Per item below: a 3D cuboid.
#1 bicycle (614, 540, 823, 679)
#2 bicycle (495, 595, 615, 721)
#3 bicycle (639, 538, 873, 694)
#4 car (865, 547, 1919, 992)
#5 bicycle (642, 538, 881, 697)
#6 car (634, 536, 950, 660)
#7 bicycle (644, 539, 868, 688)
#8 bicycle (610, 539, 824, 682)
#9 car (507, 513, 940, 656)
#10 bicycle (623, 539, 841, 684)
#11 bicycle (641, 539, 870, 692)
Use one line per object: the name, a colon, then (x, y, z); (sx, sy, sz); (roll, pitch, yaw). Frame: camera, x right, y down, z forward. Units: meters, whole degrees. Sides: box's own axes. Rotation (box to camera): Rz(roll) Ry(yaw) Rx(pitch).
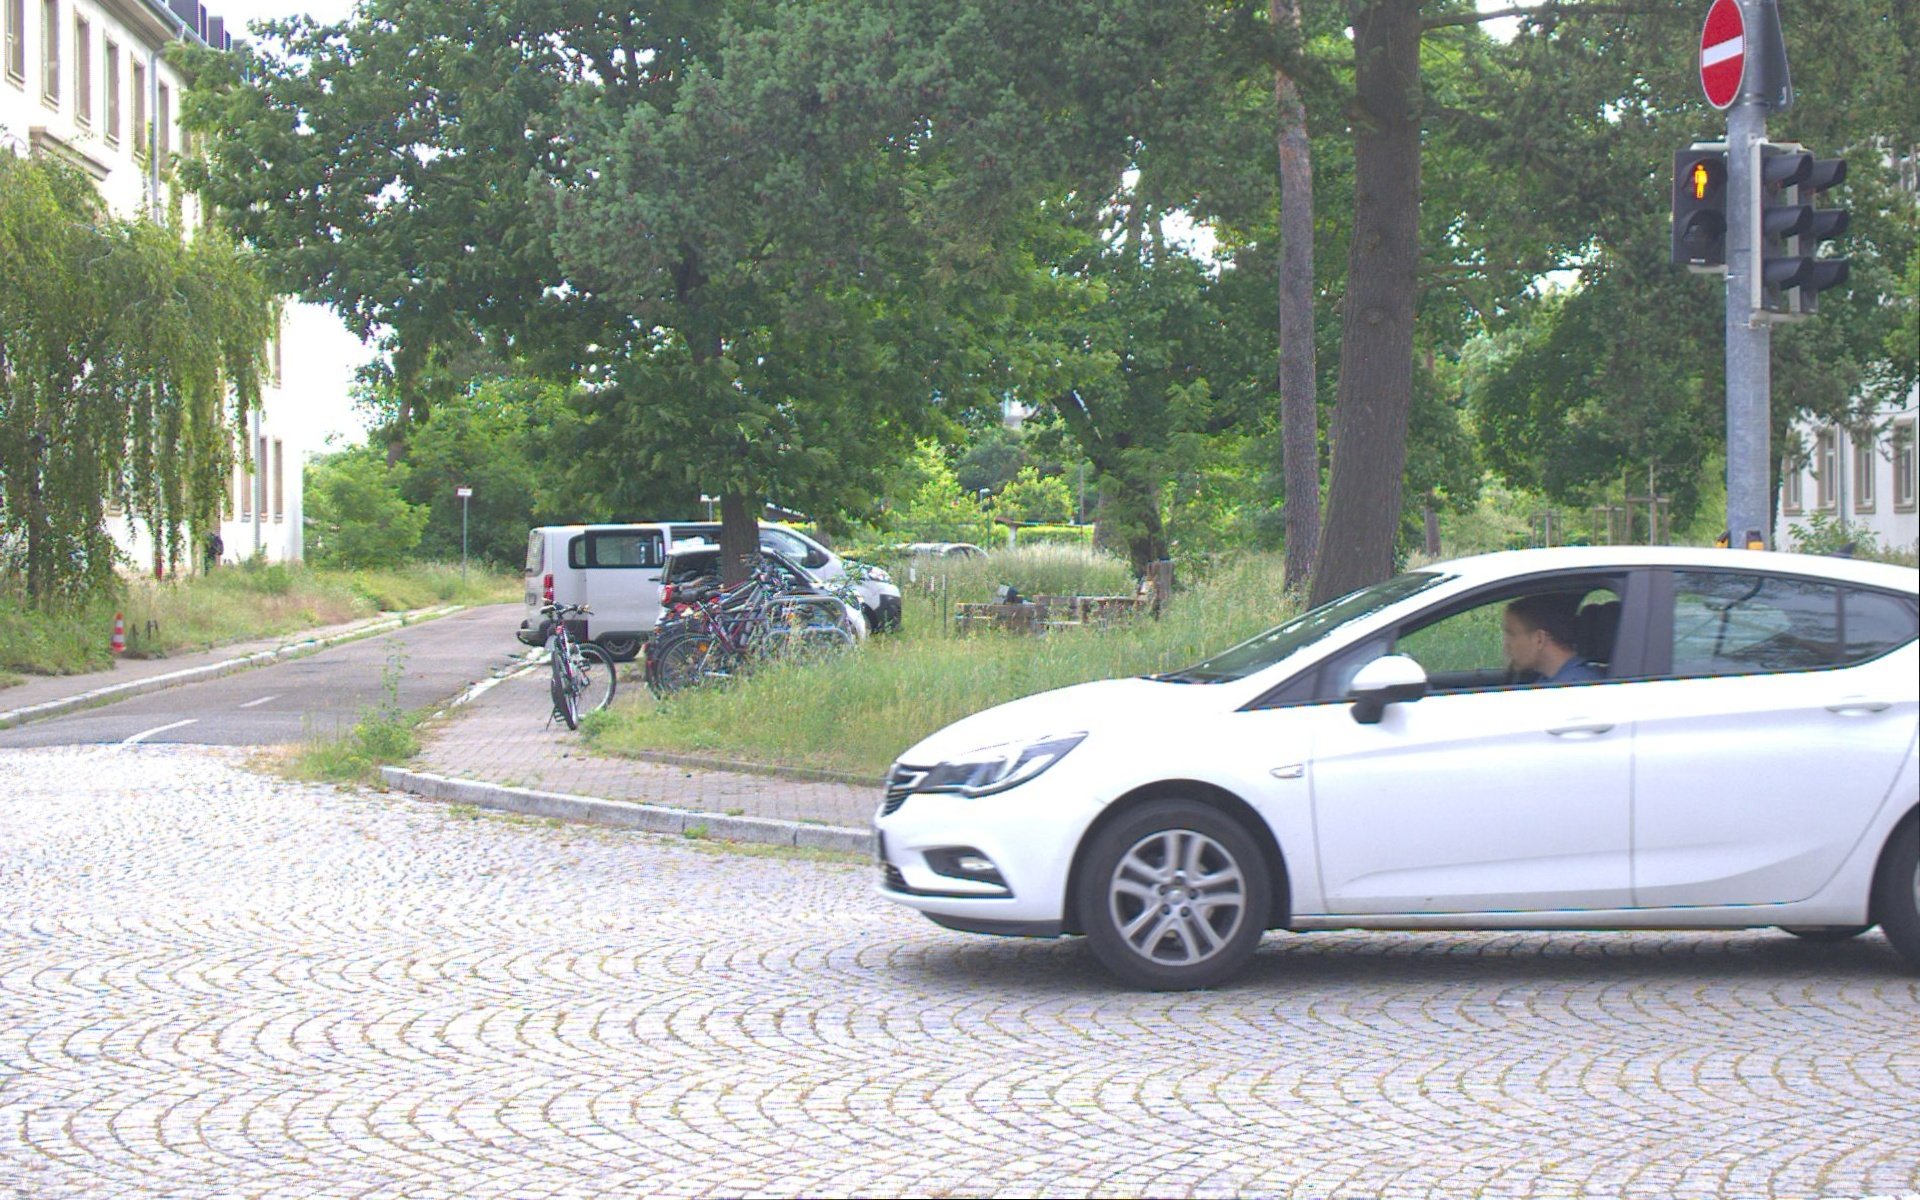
bicycle: (-2.414, 0.087, 34.548); (2.069, 1.373, 0.620); (0, 1, -3)
bicycle: (-3.318, 0.462, 28.324); (0.618, 0.960, 2.076); (0, 1, 3)
bicycle: (-1.823, 0.138, 30.867); (2.069, 1.373, 0.620); (0, 1, -3)
car: (1.829, 0.542, 12.030); (4.242, 1.411, 1.888); (0, 1, -3)
bicycle: (-1.737, 0.147, 30.200); (2.069, 1.373, 0.620); (0, 1, -3)
car: (-2.216, -0.045, 44.717); (3.931, 1.539, 2.001); (0, 1, -8)
bicycle: (-1.908, 0.122, 32.287); (2.069, 1.373, 0.620); (0, 1, -3)
bicycle: (-2.381, 0.094, 33.801); (2.069, 1.373, 0.620); (0, 1, -3)
car: (-3.320, -0.247, 48.032); (5.690, 1.904, 2.231); (-1, 1, -15)
bicycle: (-2.184, 0.106, 33.072); (2.069, 1.373, 0.620); (0, 1, -3)
bicycle: (-1.866, 0.131, 31.491); (2.069, 1.373, 0.620); (0, 1, -3)
